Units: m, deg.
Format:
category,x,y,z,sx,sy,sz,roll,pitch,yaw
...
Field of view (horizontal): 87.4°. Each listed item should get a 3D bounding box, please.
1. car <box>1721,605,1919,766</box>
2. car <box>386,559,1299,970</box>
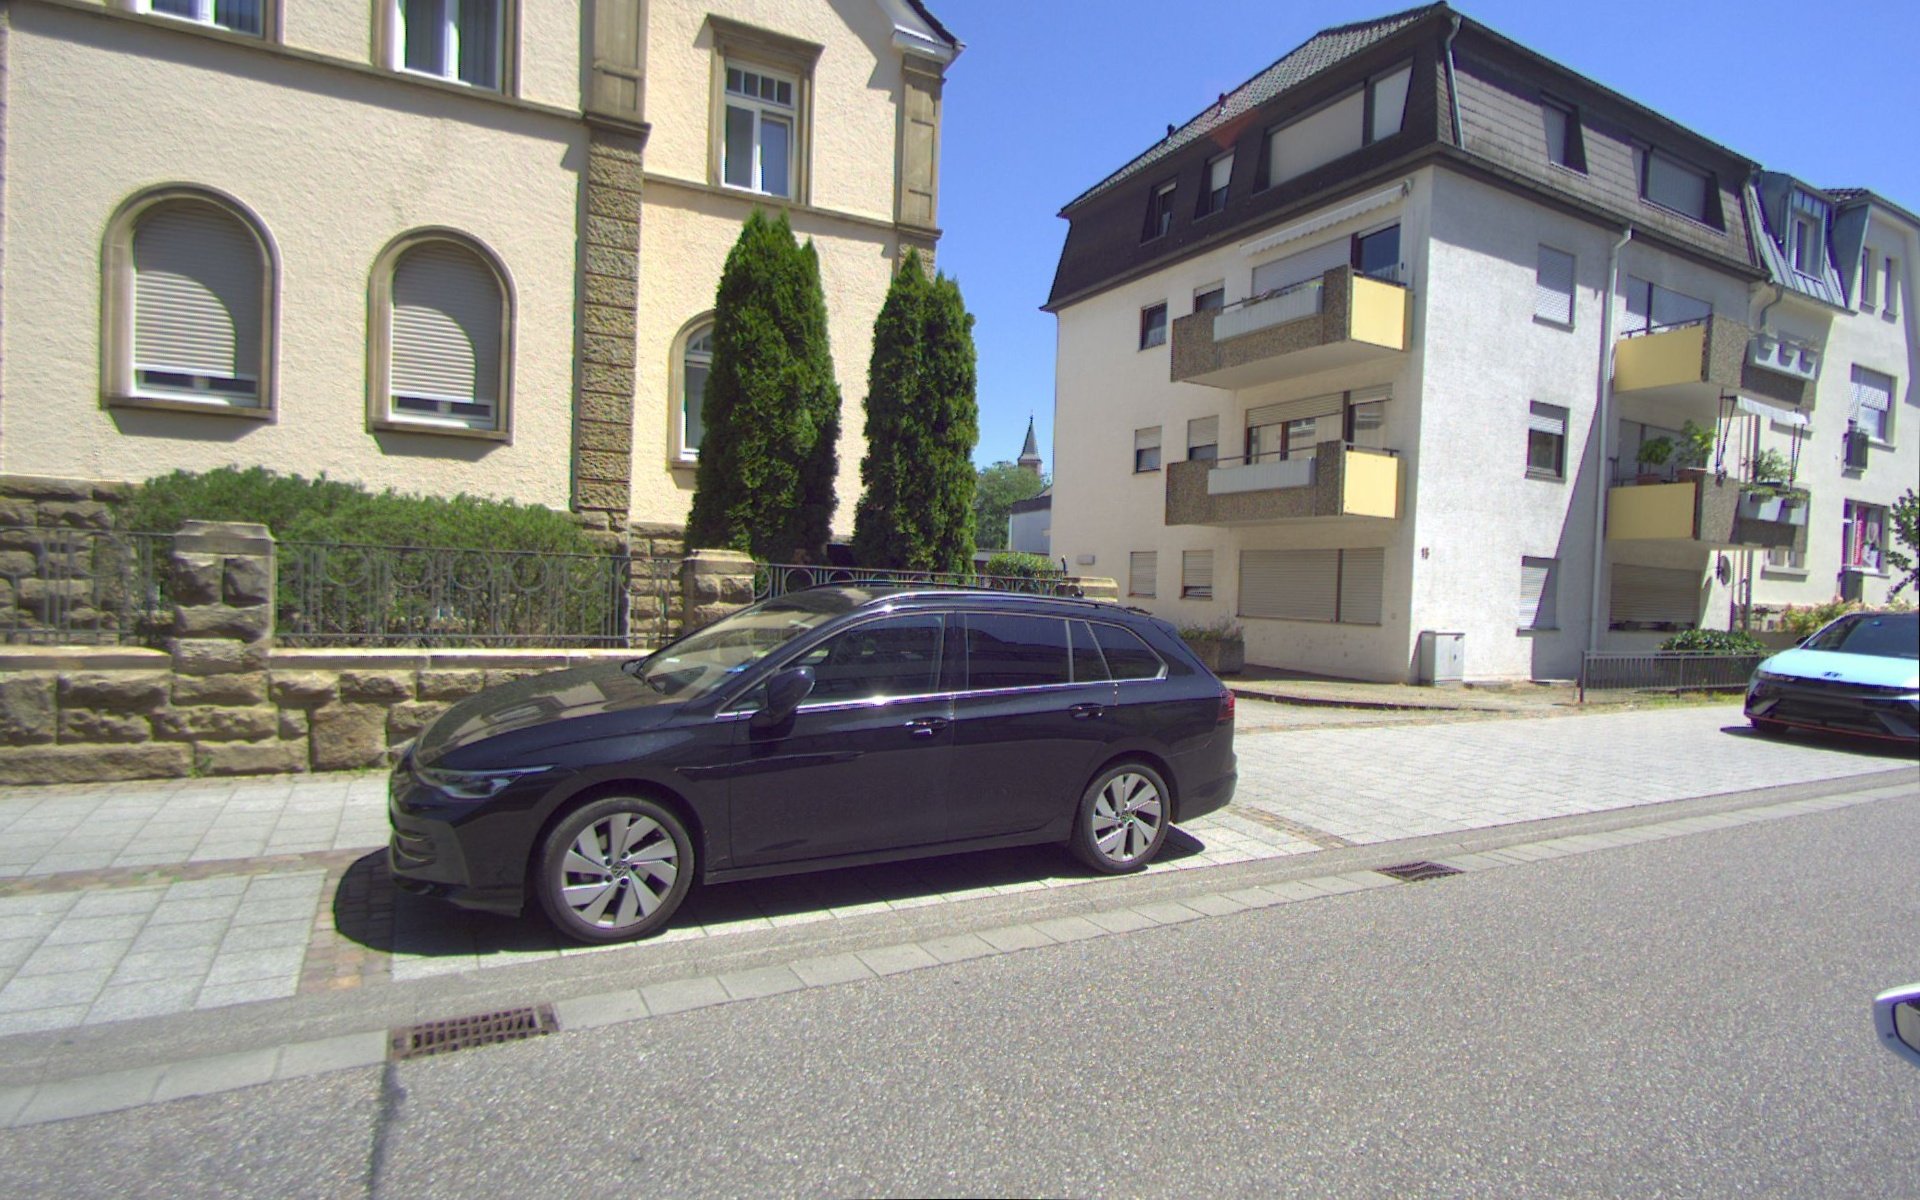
category,x,y,z,sx,sy,sz,roll,pitch,yaw
car,11.866,0.965,12.612,4.602,1.594,1.917,1,3,-29
car,-0.514,0.618,5.620,4.602,1.456,1.917,1,3,-29
